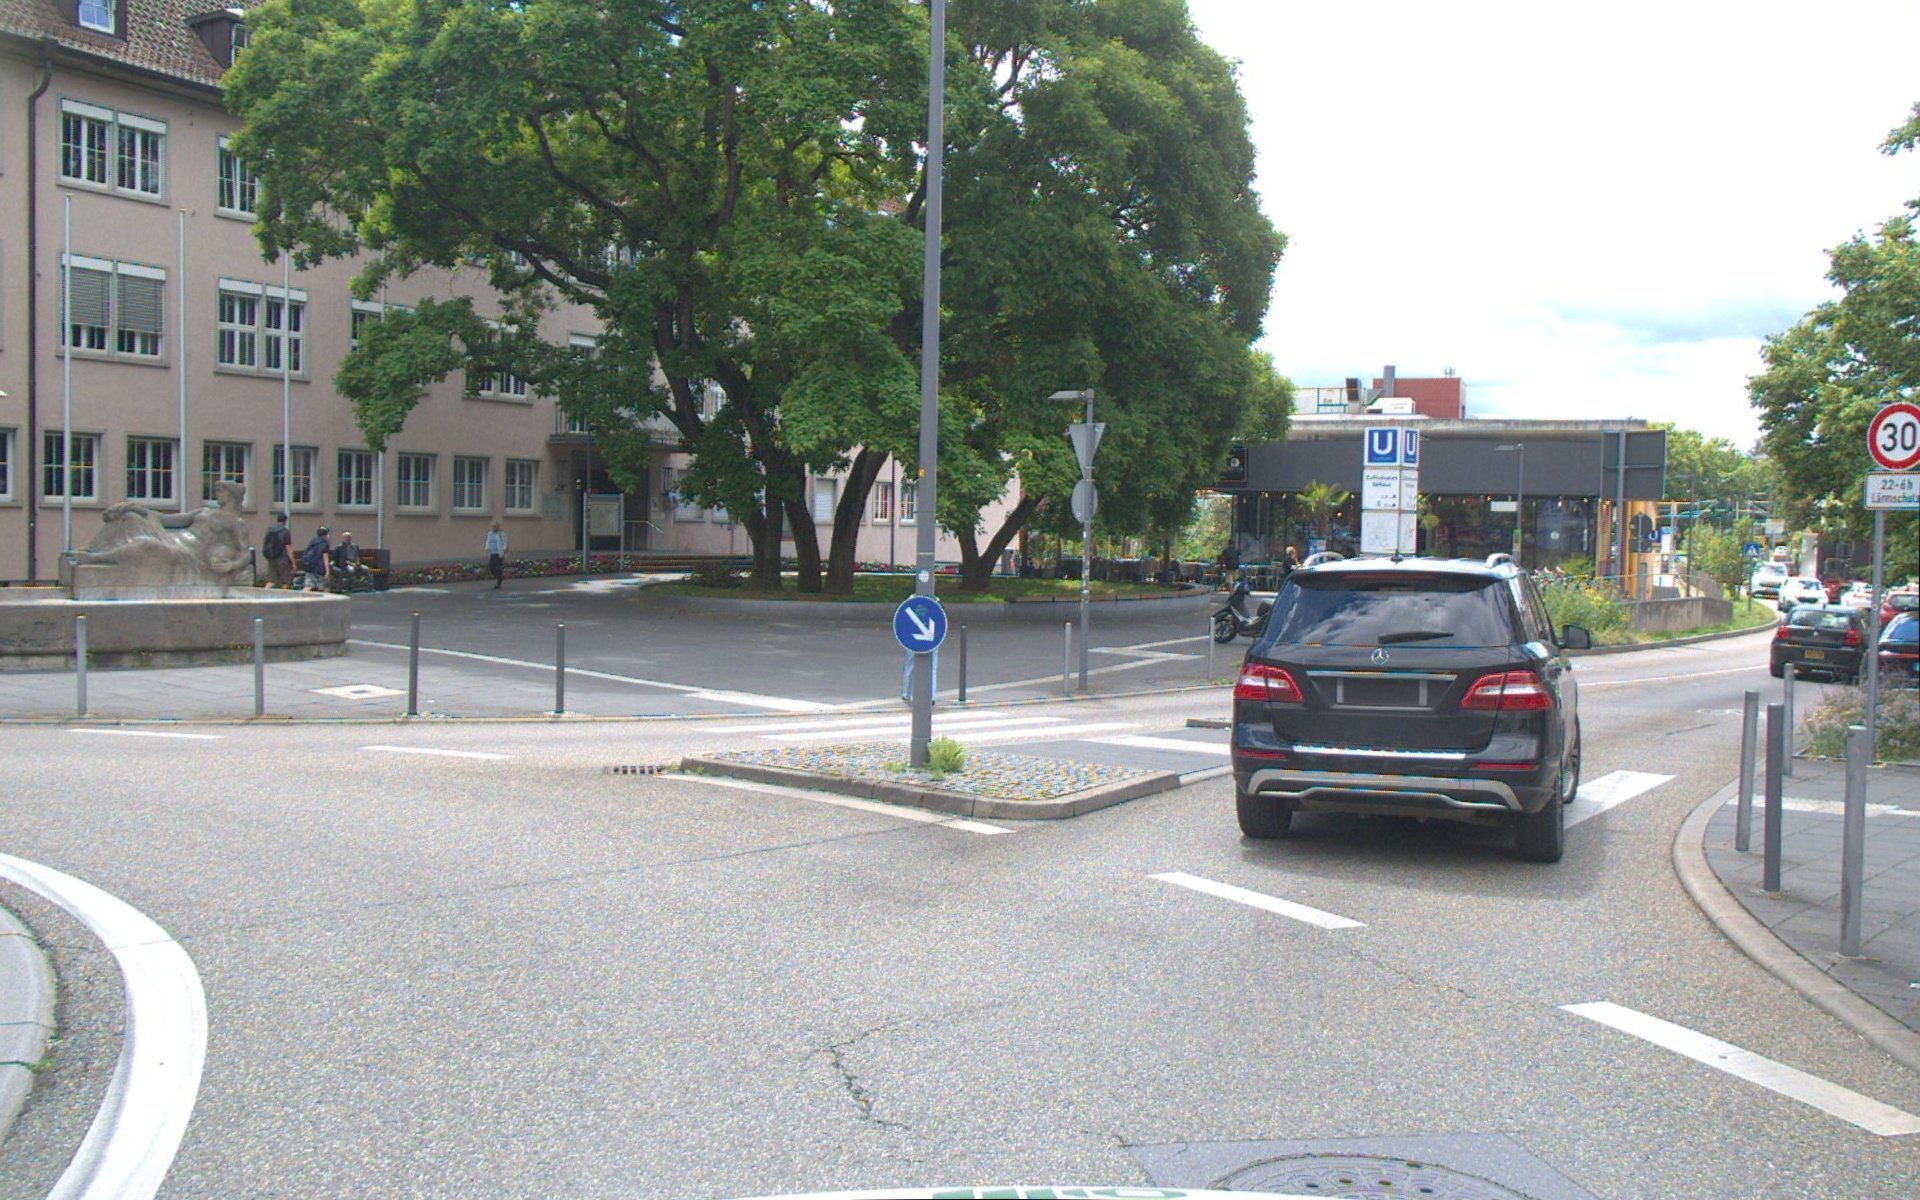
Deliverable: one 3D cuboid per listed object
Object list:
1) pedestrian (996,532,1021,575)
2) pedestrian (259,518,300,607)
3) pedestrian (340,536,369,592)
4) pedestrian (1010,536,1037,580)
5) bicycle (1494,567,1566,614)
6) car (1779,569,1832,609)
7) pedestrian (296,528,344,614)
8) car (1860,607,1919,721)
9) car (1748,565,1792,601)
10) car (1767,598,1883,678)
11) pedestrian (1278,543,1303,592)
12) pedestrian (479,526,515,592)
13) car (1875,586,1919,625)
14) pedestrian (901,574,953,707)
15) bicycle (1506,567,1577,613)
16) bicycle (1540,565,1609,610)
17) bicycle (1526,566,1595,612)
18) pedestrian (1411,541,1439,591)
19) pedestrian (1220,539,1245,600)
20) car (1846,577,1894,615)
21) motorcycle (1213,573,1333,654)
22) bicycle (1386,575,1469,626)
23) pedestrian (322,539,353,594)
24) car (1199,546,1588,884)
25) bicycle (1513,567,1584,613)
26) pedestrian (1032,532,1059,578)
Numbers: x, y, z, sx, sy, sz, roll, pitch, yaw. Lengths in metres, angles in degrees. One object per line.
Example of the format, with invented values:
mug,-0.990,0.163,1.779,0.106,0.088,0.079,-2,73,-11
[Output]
pedestrian,1.859,-1.781,63.277,0.624,1.604,0.785,2,1,35
pedestrian,-12.837,-0.698,31.202,0.569,1.636,0.431,1,4,-40
pedestrian,-13.774,-0.825,37.631,0.477,1.243,0.580,2,0,-7
pedestrian,2.375,-1.572,61.545,0.772,1.604,0.635,2,1,34
bicycle,13.831,-0.236,40.128,1.542,1.110,0.576,2,1,36
car,38.810,-0.519,75.978,1.804,1.635,3.999,5,3,24
pedestrian,-11.932,-0.533,30.856,0.632,1.549,0.569,1,4,-40
car,13.635,0.828,22.575,1.825,1.430,4.357,1,1,36
car,45.890,-0.985,93.780,1.804,1.890,4.497,4,3,22
car,17.000,0.696,32.416,1.581,1.407,3.824,2,1,34
pedestrian,9.763,-0.961,48.865,0.569,1.403,0.616,1,1,23
pedestrian,-10.939,-0.959,39.076,0.688,1.518,0.809,2,0,-23
car,35.908,0.189,62.968,1.576,1.407,3.834,1,1,25
pedestrian,-0.398,0.480,20.173,0.539,1.540,0.788,1,3,3
bicycle,14.317,-0.243,40.723,1.542,1.087,0.537,2,1,36
bicycle,15.914,-0.332,42.846,1.542,1.110,0.576,2,1,36
bicycle,15.293,-0.290,42.151,1.542,1.110,0.576,2,1,36
pedestrian,14.070,-1.030,50.043,0.573,1.489,0.612,2,1,44
pedestrian,7.282,-0.812,44.228,0.601,1.604,0.583,1,1,14
car,42.024,-0.206,76.384,1.807,1.550,3.993,5,3,29
motorcycle,5.677,0.222,30.079,2.098,1.311,0.581,4,5,38
bicycle,9.766,0.004,34.580,1.588,1.014,0.497,2,1,42
pedestrian,-13.856,-0.748,36.813,0.477,1.203,0.580,2,0,-7
car,3.095,0.567,11.047,1.986,1.757,4.433,1,1,22
bicycle,14.686,-0.252,41.269,1.542,1.110,0.576,2,1,36
pedestrian,3.089,-1.632,59.737,0.772,1.656,0.635,2,1,34
